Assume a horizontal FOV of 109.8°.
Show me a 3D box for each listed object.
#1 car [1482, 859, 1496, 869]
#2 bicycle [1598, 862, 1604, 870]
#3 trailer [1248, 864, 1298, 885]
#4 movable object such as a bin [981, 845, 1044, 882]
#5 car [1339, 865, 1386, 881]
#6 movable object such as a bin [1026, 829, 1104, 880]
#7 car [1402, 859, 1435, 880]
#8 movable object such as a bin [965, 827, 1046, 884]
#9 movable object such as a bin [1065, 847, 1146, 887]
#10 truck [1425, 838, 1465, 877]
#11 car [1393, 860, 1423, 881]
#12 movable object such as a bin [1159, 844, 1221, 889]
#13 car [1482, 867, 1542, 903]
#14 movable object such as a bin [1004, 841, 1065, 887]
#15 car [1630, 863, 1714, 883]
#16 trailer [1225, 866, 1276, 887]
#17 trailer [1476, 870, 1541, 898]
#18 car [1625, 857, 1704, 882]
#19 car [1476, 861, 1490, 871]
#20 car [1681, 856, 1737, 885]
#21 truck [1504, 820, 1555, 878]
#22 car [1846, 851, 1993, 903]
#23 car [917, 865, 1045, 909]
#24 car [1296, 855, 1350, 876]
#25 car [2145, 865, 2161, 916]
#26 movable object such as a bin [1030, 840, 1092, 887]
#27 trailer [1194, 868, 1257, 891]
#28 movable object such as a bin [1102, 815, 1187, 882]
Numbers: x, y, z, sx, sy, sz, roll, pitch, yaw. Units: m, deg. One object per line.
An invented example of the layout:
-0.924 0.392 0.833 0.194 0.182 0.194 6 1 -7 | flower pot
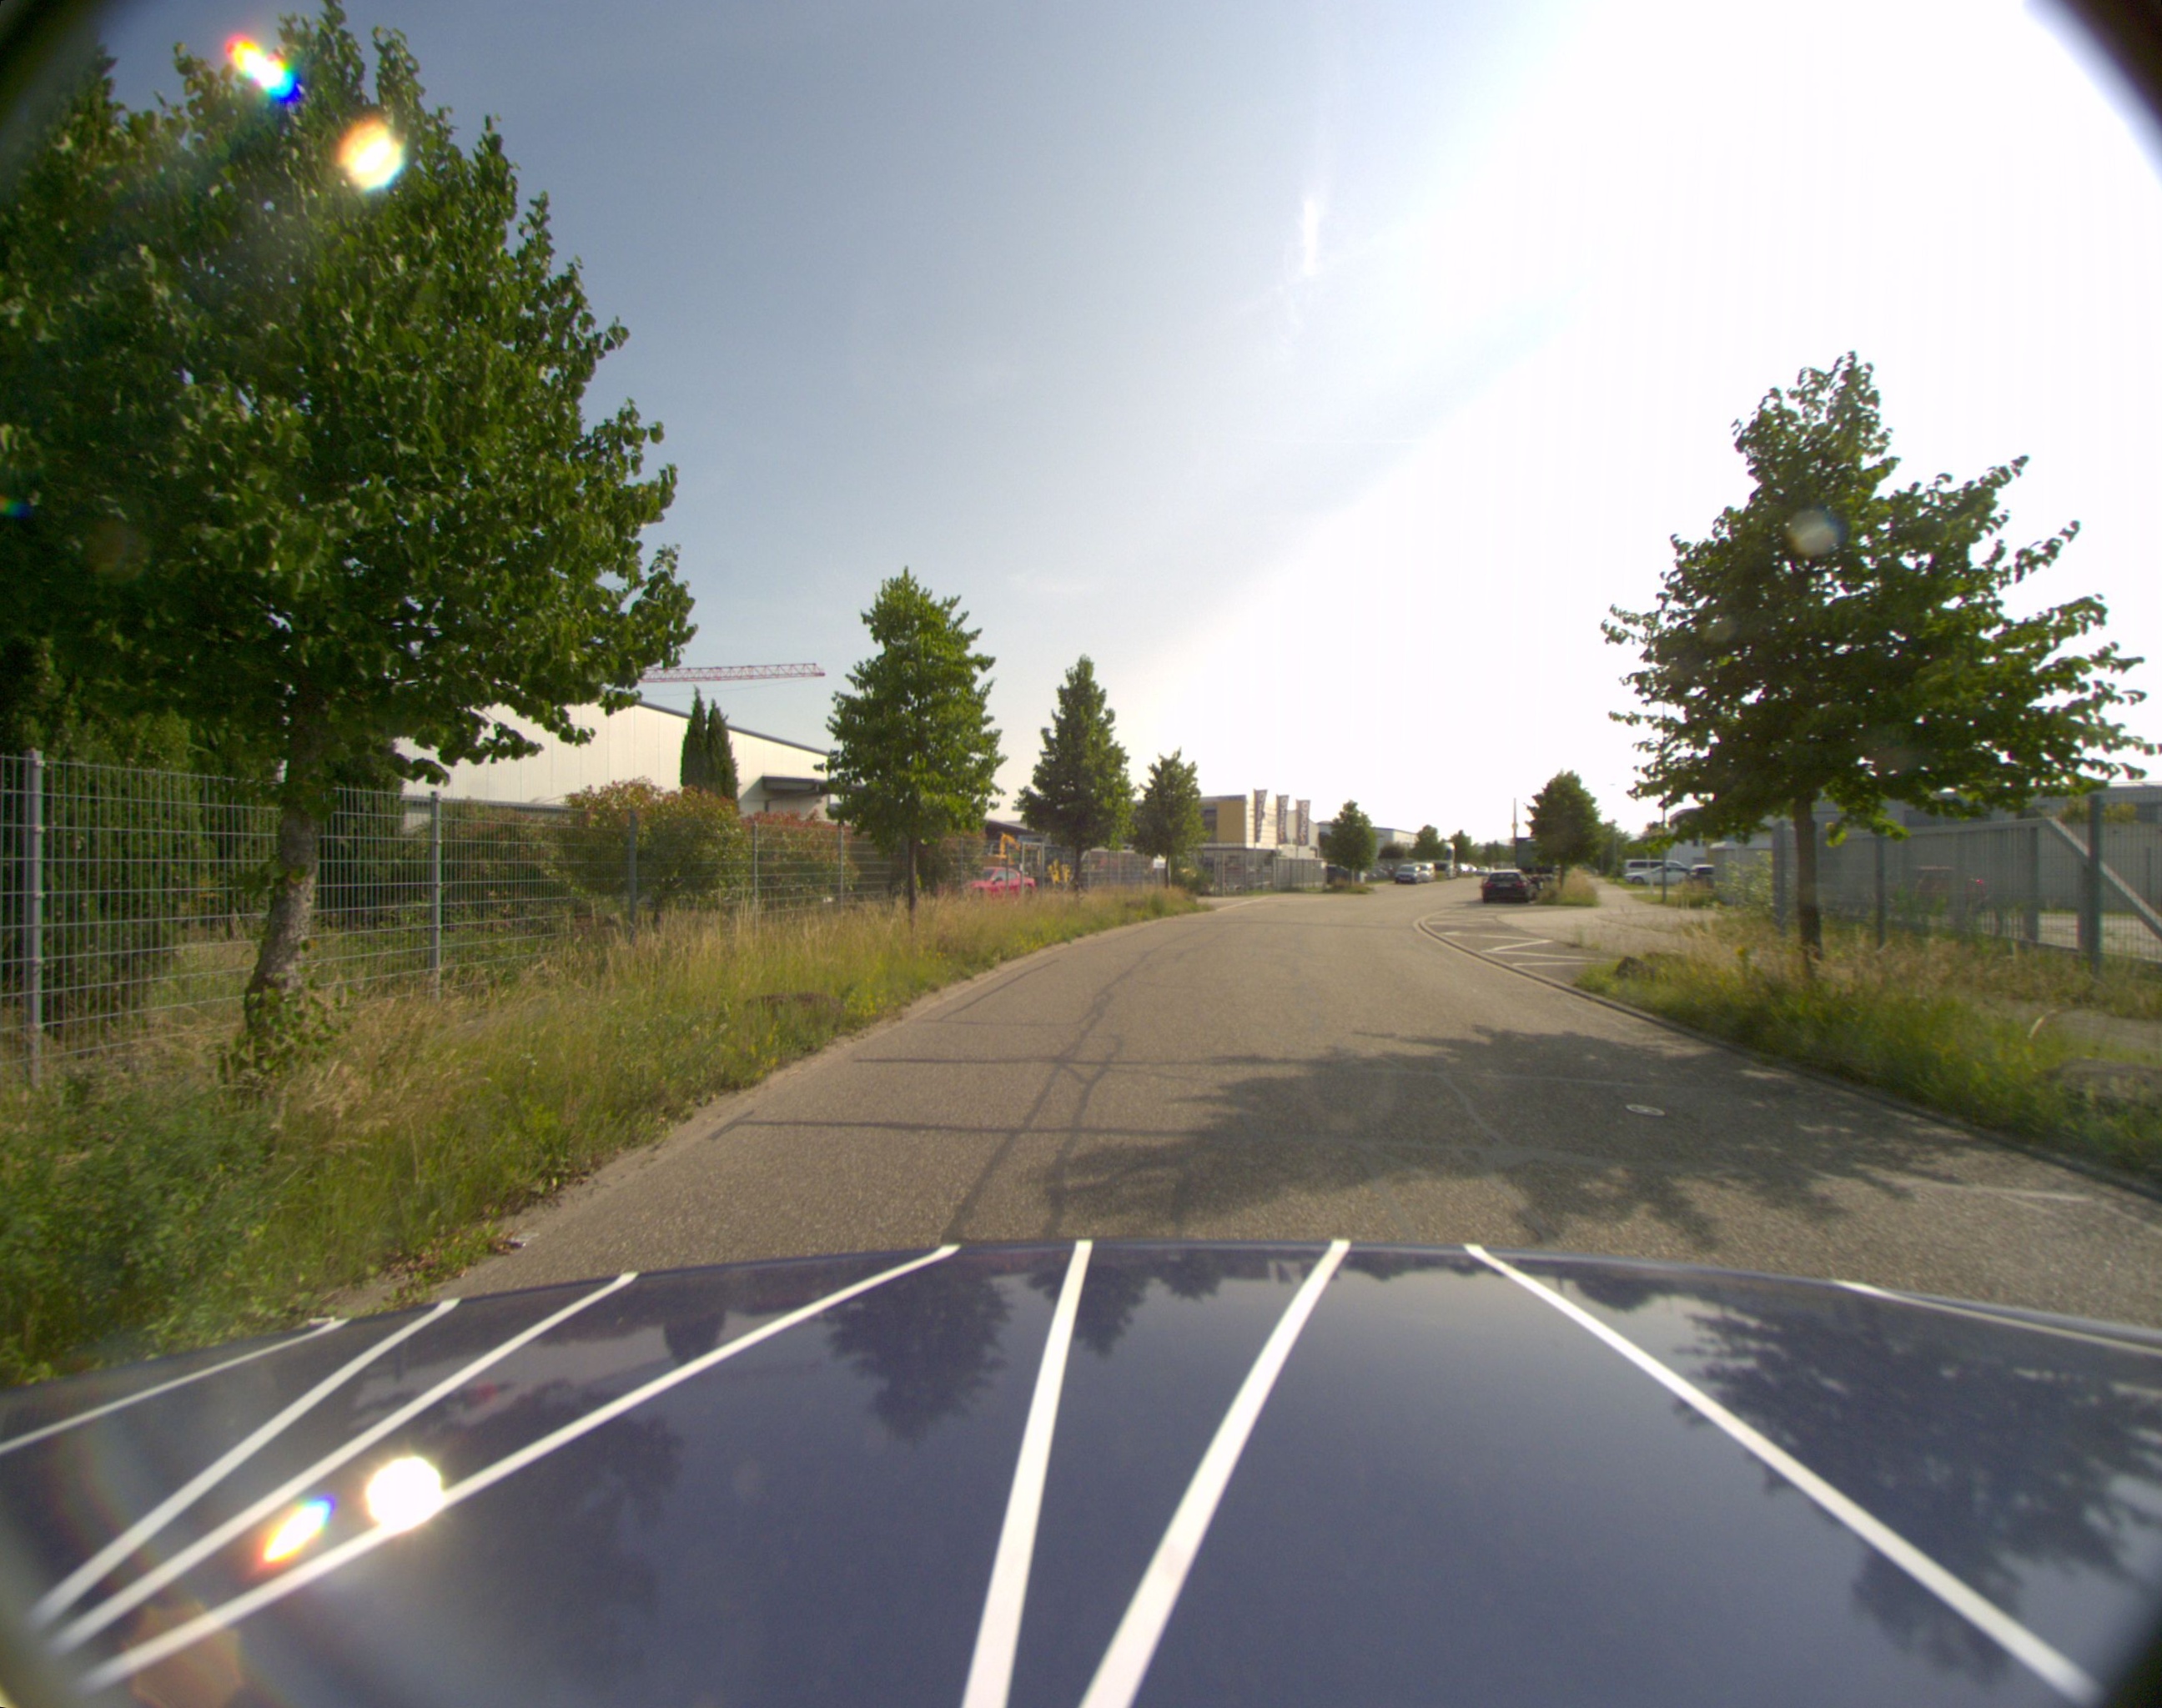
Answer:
67.675 1.624 126.037 1.690 1.495 3.548 2 1 32 | car
61.412 1.428 89.676 0.540 0.973 1.874 -1 -1 37 | bicycle
13.614 1.424 53.716 1.994 1.303 4.572 -1 0 34 | trailer
-5.378 0.753 60.608 2.055 2.752 5.702 0 0 31 | movable object such as a bin
26.919 1.788 72.696 3.990 1.363 1.794 -3 -1 28 | car
-1.186 0.074 61.911 2.919 3.906 7.222 0 0 31 | movable object such as a bin
31.008 1.371 69.736 1.994 1.779 4.609 -1 0 34 | car
-5.335 0.107 54.572 2.685 3.851 5.730 0 0 33 | movable object such as a bin
1.698 0.825 49.828 2.924 2.477 5.350 0 0 33 | movable object such as a bin
40.212 0.381 83.792 2.746 3.992 9.706 2 1 32 | truck
28.454 1.411 66.044 1.827 1.710 4.257 -1 0 32 | car
6.960 0.757 48.079 1.887 2.736 5.170 0 0 34 | movable object such as a bin
19.200 1.357 33.744 1.995 1.457 4.442 -3 -2 33 | car
-3.180 0.671 52.839 1.994 3.014 4.382 0 0 33 | movable object such as a bin
43.872 1.410 56.528 4.729 1.422 2.004 -1 0 32 | car
11.105 1.450 49.607 1.945 1.236 4.303 0 0 32 | trailer
22.086 1.482 39.067 2.131 1.225 7.173 -3 -2 35 | trailer
45.197 1.173 58.987 4.706 1.825 2.107 -1 0 33 | car
63.169 1.926 119.343 1.665 1.495 3.548 2 1 32 | car
38.386 0.967 46.574 1.994 1.676 4.709 0 0 31 | car
33.047 -0.382 55.765 2.457 3.858 9.822 -2 -1 34 | truck
26.509 0.725 24.227 1.771 1.516 4.313 -1 -2 28 | car
-3.325 1.077 26.248 1.881 1.350 4.783 -1 -1 29 | car
20.888 1.018 65.597 4.228 1.727 1.903 -1 0 26 | car
31.514 1.017 20.409 1.833 1.485 4.488 -1 -2 32 | car
-1.307 0.625 51.446 1.994 3.014 4.501 0 0 33 | movable object such as a bin
8.709 1.492 45.534 2.127 1.236 4.805 0 0 32 | trailer
4.960 -0.339 57.835 3.318 4.778 7.689 0 -1 31 | movable object such as a bin
